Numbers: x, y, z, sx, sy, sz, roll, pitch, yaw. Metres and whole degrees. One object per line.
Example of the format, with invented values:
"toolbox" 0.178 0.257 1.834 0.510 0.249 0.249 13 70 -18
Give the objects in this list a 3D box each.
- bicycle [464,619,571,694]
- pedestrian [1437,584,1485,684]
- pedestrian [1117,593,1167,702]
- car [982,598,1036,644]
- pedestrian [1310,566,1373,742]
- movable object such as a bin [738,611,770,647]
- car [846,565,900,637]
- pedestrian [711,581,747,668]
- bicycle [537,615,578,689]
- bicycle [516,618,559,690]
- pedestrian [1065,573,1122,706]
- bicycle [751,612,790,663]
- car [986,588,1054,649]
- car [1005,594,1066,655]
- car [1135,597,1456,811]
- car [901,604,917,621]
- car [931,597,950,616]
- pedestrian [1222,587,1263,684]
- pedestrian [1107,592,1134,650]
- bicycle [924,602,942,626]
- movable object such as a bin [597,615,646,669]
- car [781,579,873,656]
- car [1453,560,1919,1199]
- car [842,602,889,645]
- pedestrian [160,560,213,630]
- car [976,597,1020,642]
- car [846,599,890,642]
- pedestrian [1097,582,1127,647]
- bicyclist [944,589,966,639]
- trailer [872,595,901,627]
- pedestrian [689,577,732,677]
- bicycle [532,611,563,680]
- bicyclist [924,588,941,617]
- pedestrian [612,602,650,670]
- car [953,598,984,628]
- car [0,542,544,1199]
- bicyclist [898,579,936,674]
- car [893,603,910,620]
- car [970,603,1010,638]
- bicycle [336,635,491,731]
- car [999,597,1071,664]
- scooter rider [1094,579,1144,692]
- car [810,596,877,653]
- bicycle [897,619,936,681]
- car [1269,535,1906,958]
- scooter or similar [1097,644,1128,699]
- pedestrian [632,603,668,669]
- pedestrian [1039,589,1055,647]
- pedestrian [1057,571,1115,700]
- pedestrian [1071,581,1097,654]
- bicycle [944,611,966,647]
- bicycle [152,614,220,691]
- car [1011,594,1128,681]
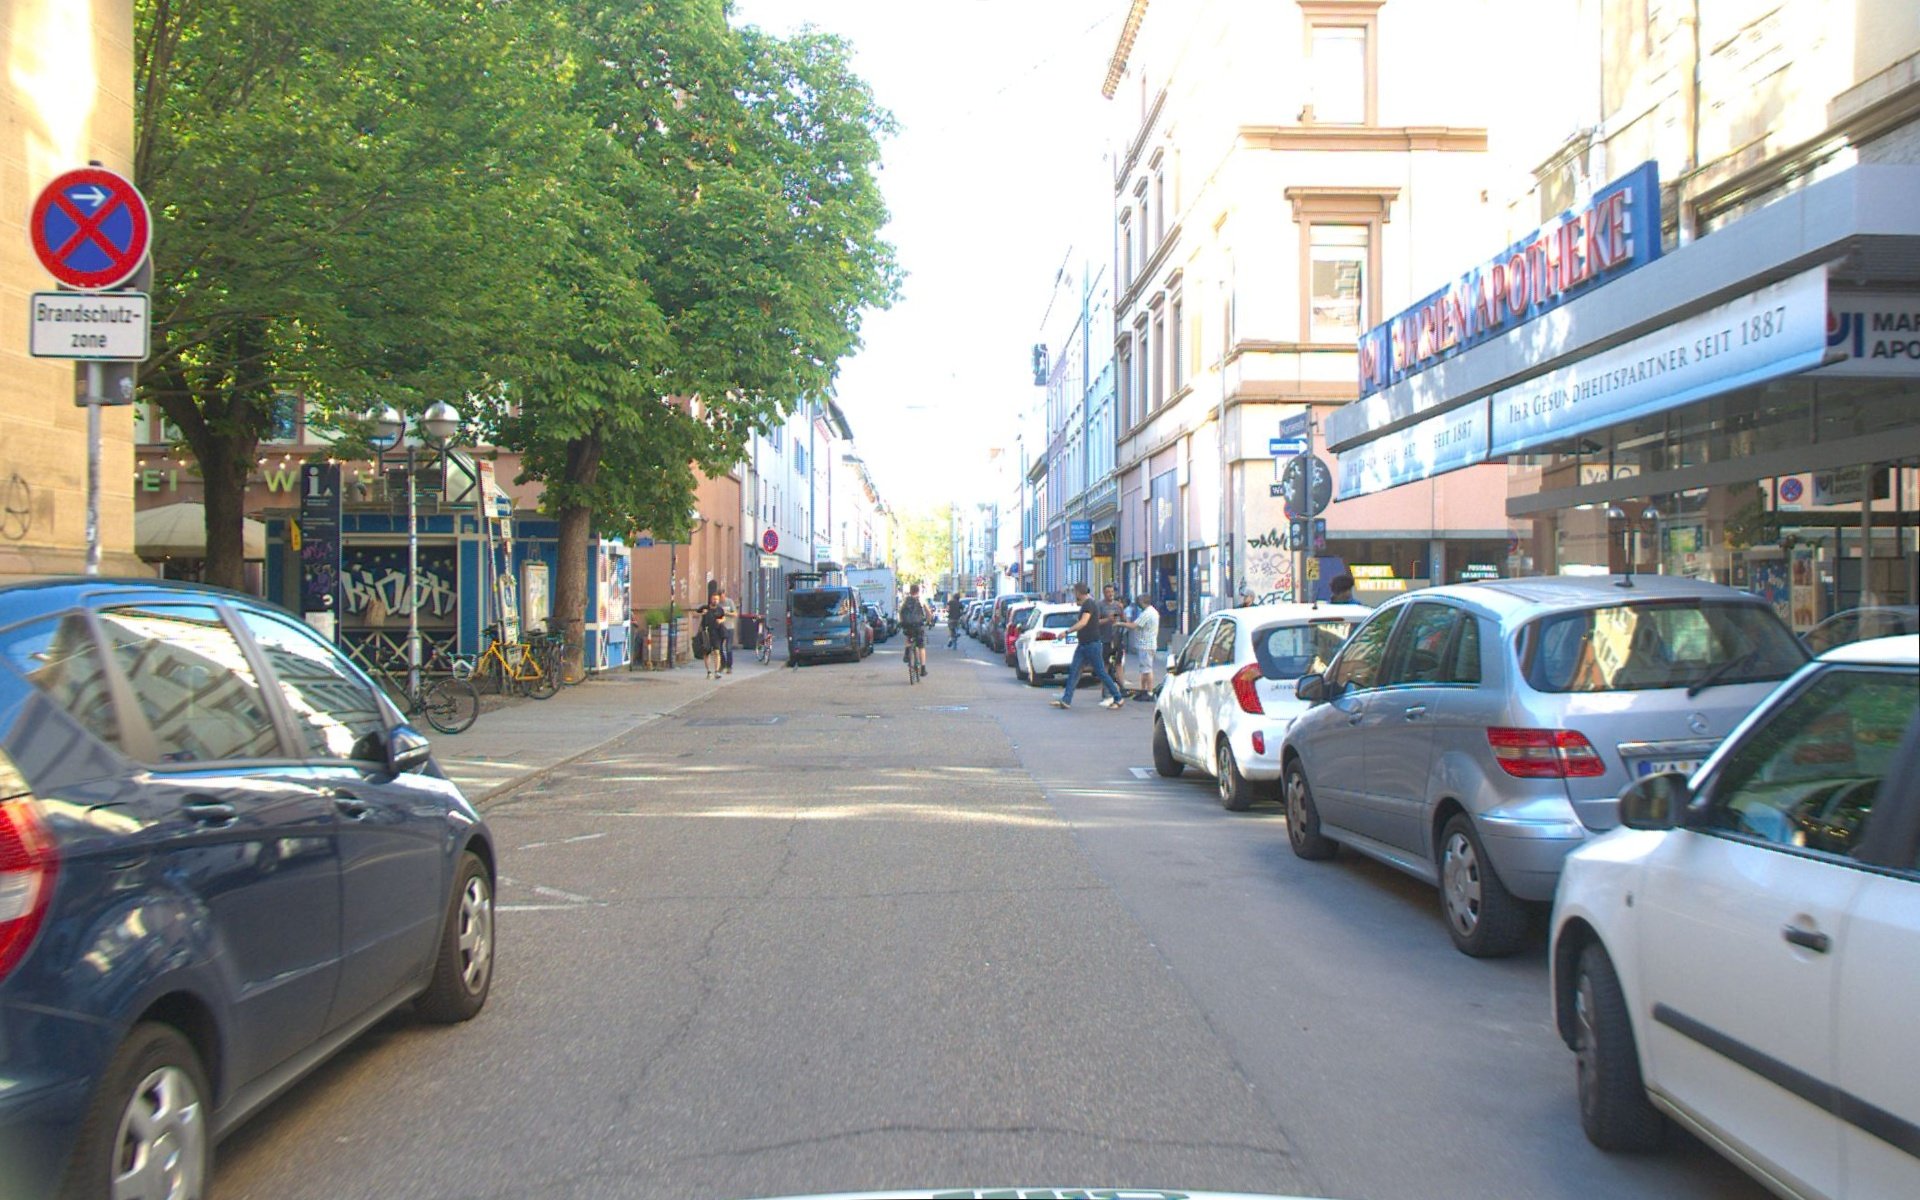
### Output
"bicycle" -6.733 0.857 25.176 1.540 1.101 0.347 1 -1 9
"pedestrian" 8.888 0.602 29.373 0.677 1.756 0.475 1 -1 -2
"pedestrian" 2.838 0.740 25.785 0.519 1.667 0.561 0 -1 43
"car" 1.694 0.722 57.850 1.521 1.537 3.609 1 -1 -4
"pedestrian" 4.266 0.597 18.515 0.550 1.927 0.530 1 -1 -2
"movable object such as a bin" -6.382 0.904 51.270 0.743 1.085 0.652 1 -1 18
"car" -4.268 0.095 82.326 2.296 3.349 7.152 -2 -1 -1
"pedestrian" -5.039 0.529 36.180 0.633 1.866 0.697 2 -1 -2
"bicycle" -6.413 0.817 26.394 0.286 1.101 1.578 1 1 -1
"bicycle" -6.732 0.849 26.389 0.286 1.064 1.578 1 1 -1
"pedestrian" 1.893 0.550 23.519 0.680 1.857 1.002 0 0 -3
"bicycle" -4.745 0.929 41.356 0.541 1.238 1.978 1 -1 -18
"car" 1.867 0.581 52.599 1.861 1.825 4.313 1 -1 -2
"car" 2.102 0.681 46.892 1.537 1.584 3.314 -3 -1 1
"car" 2.575 0.761 13.529 1.656 1.488 3.637 1 -1 -4
"car" -5.683 1.422 183.043 1.715 1.853 3.794 -1 -1 -1
"car" -1.675 0.571 142.223 1.578 1.587 3.609 0 0 -1
"pedestrian" 5.026 0.624 29.407 0.588 1.678 0.464 1 2 30
"pedestrian" 4.373 0.580 45.087 0.576 1.556 0.658 1 -1 -7
"bicycle" -1.598 0.827 98.213 0.957 1.337 2.555 -1 0 0
"movable object such as a bin" -7.172 0.882 35.068 0.852 1.105 0.774 1 -1 -1
"car" -3.483 0.435 44.250 1.979 1.912 5.296 1 0 0
"car" 2.496 0.726 3.605 1.523 1.553 4.200 1 -1 -1
"car" -3.736 0.905 65.845 1.682 1.504 4.497 -3 1 -2
"pedestrian" -15.109 -0.086 32.317 0.682 1.344 0.613 1 -1 7
"car" 1.486 0.781 65.879 1.525 1.742 3.557 1 -1 -2
"car" -3.942 0.862 71.406 1.682 1.679 4.244 -3 1 -2
"pedestrian" 4.220 0.409 45.840 0.618 1.771 0.656 1 -1 -14
"bicyclist" -0.165 0.452 53.587 0.657 1.595 0.716 1 -1 -1
"trailer" -4.957 0.748 111.775 1.844 2.129 3.736 -1 -1 -1
"pedestrian" -4.833 0.526 32.030 0.702 1.906 0.720 1 -1 -2
"bicycle" -7.303 0.788 29.271 0.488 1.151 2.030 1 0 -14
"bicyclist" -1.629 0.146 98.178 0.931 1.656 0.953 -2 0 -1
"pedestrian" -7.263 0.795 36.553 0.691 1.471 0.617 1 -1 -2
"car" 0.530 0.845 108.583 1.715 1.911 3.969 -1 -1 -4
"car" -2.549 0.695 4.727 1.757 1.579 3.833 1 -1 -1
"bicyclist" -0.789 0.490 30.513 0.654 1.706 1.097 1 -1 -2
"car" -5.831 1.147 165.163 1.715 1.713 3.794 -1 -1 -1
"car" 1.378 0.951 76.833 1.652 1.570 4.044 -2 -1 -2
"bicycle" -6.377 0.967 19.321 1.656 1.084 0.346 1 -1 -3
"car" 1.873 0.768 42.031 1.574 1.600 3.552 1 -1 -1
"scooter rider" 2.584 0.579 26.885 0.553 1.809 0.609 0 -1 34
"car" -3.455 0.726 49.678 1.715 1.548 3.868 -3 -1 -1
"bicycle" -0.805 0.907 30.490 0.663 1.093 1.941 1 -1 -2
"car" 2.924 0.619 8.710 1.666 1.679 4.062 1 -1 -2
"scooter or similar" 2.450 1.146 26.581 0.385 0.843 0.925 1 -1 -1
"pedestrian" -7.004 0.815 37.376 0.691 1.471 0.617 1 -1 -2
"pedestrian" 2.619 0.539 49.836 0.432 1.734 0.654 1 -1 -1
"pedestrian" 1.857 0.517 24.466 0.746 1.867 0.688 1 -1 -3
"pedestrian" 3.041 0.438 40.577 0.549 1.771 0.427 1 -1 -1
"bicycle" -0.173 0.937 53.688 0.635 1.149 2.135 1 -1 -1
"bicycle" -12.337 0.818 26.408 0.224 1.110 1.937 1 1 -2
"car" 2.051 0.699 32.040 1.751 1.542 4.133 1 -1 -3
